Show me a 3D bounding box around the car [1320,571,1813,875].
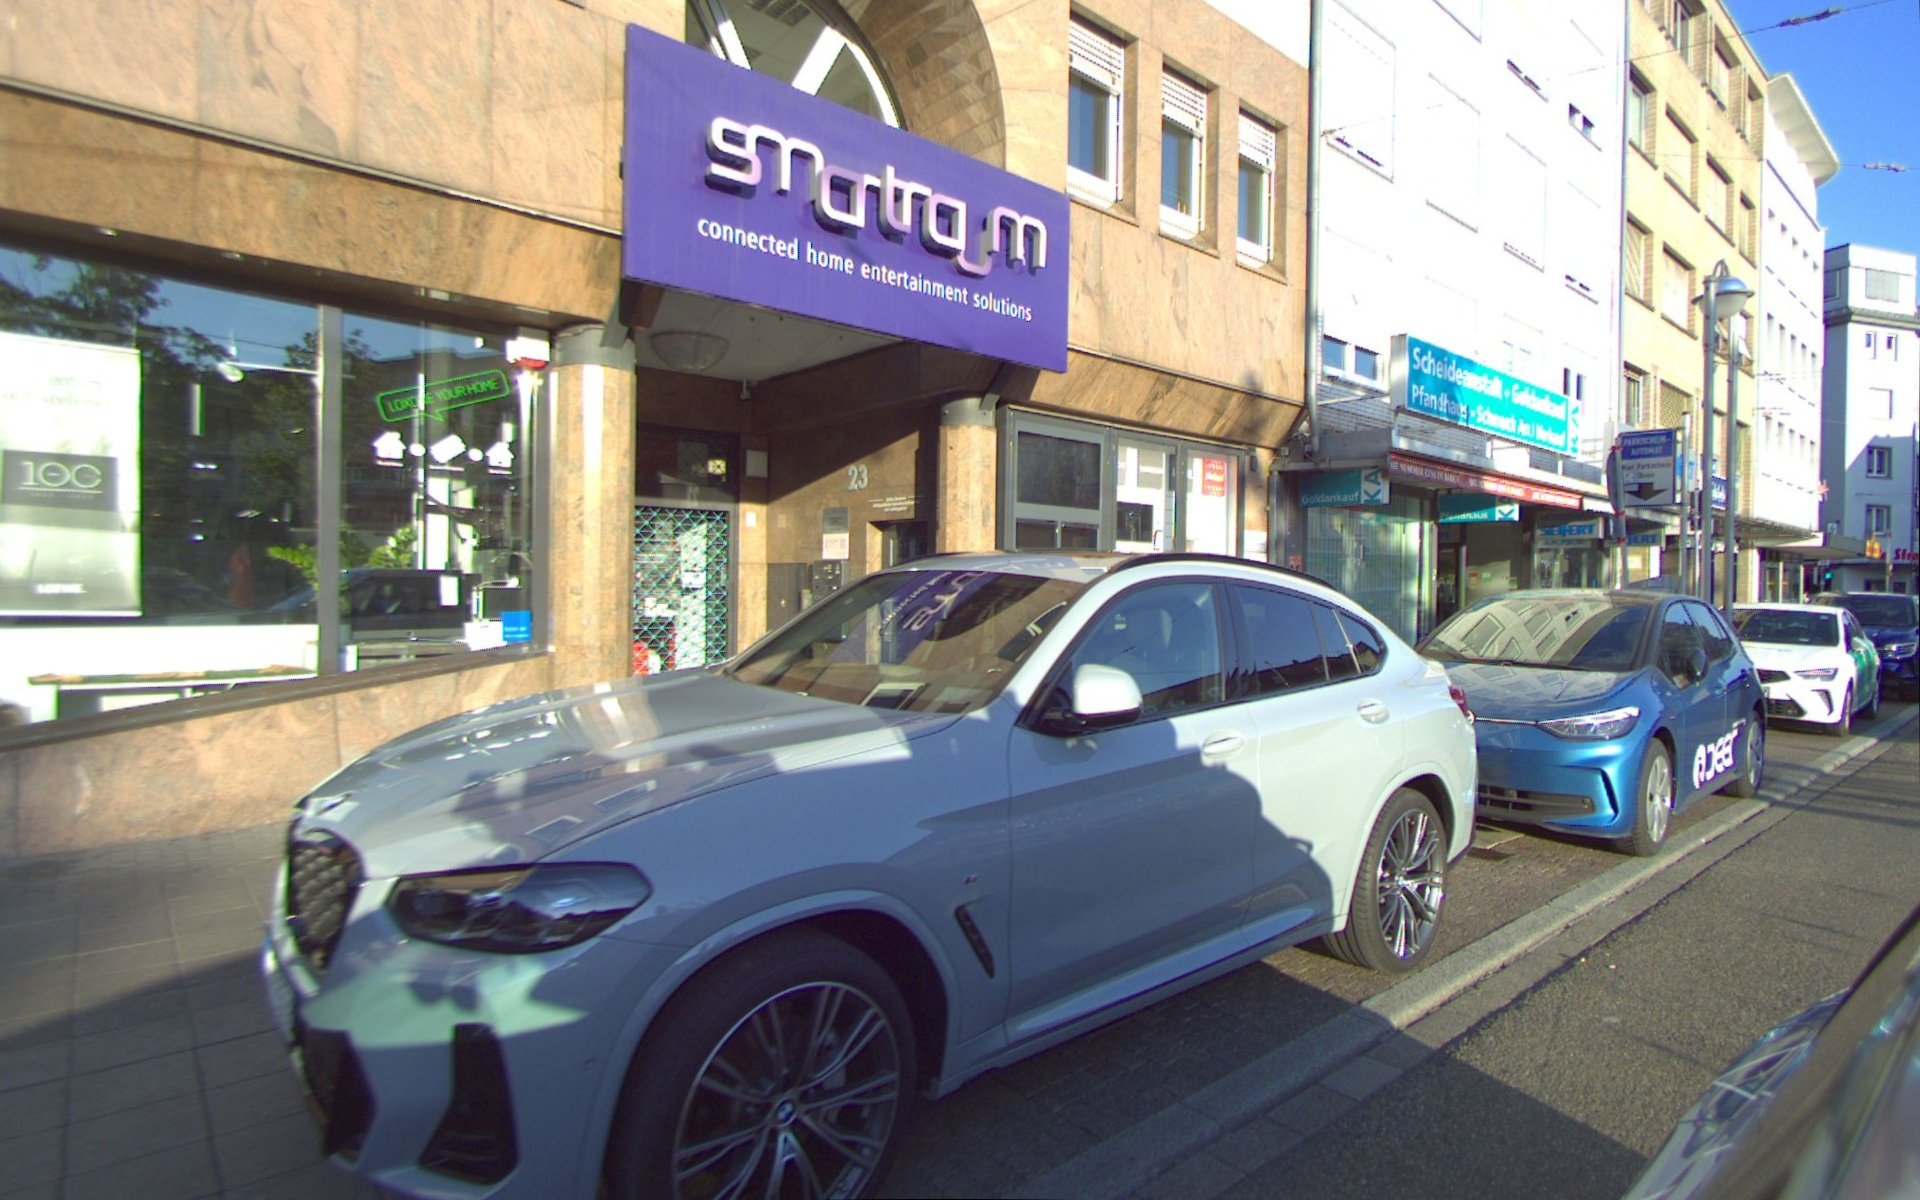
[{"bbox_3d":[4.708,0.602,7.488,4.753,1.571,1.812,0,1,-42],"label":"car"}]

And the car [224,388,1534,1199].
[{"bbox_3d":[0.210,0.458,3.736,4.639,1.605,1.820,0,1,-40],"label":"car"}]

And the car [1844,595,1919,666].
[{"bbox_3d":[19.756,0.587,20.800,3.990,1.298,1.678,-1,2,-38],"label":"car"}]

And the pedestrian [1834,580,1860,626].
[{"bbox_3d":[35.412,0.103,40.400,0.747,1.795,0.578,1,1,42],"label":"pedestrian"}]

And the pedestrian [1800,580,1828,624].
[{"bbox_3d":[34.858,0.078,41.327,0.628,1.795,0.749,0,0,-38],"label":"pedestrian"}]

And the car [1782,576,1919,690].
[{"bbox_3d":[14.951,0.453,16.477,4.213,1.625,1.768,0,1,-42],"label":"car"}]

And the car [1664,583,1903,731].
[{"bbox_3d":[10.358,0.568,12.624,4.082,1.453,1.733,-2,3,-43],"label":"car"}]
